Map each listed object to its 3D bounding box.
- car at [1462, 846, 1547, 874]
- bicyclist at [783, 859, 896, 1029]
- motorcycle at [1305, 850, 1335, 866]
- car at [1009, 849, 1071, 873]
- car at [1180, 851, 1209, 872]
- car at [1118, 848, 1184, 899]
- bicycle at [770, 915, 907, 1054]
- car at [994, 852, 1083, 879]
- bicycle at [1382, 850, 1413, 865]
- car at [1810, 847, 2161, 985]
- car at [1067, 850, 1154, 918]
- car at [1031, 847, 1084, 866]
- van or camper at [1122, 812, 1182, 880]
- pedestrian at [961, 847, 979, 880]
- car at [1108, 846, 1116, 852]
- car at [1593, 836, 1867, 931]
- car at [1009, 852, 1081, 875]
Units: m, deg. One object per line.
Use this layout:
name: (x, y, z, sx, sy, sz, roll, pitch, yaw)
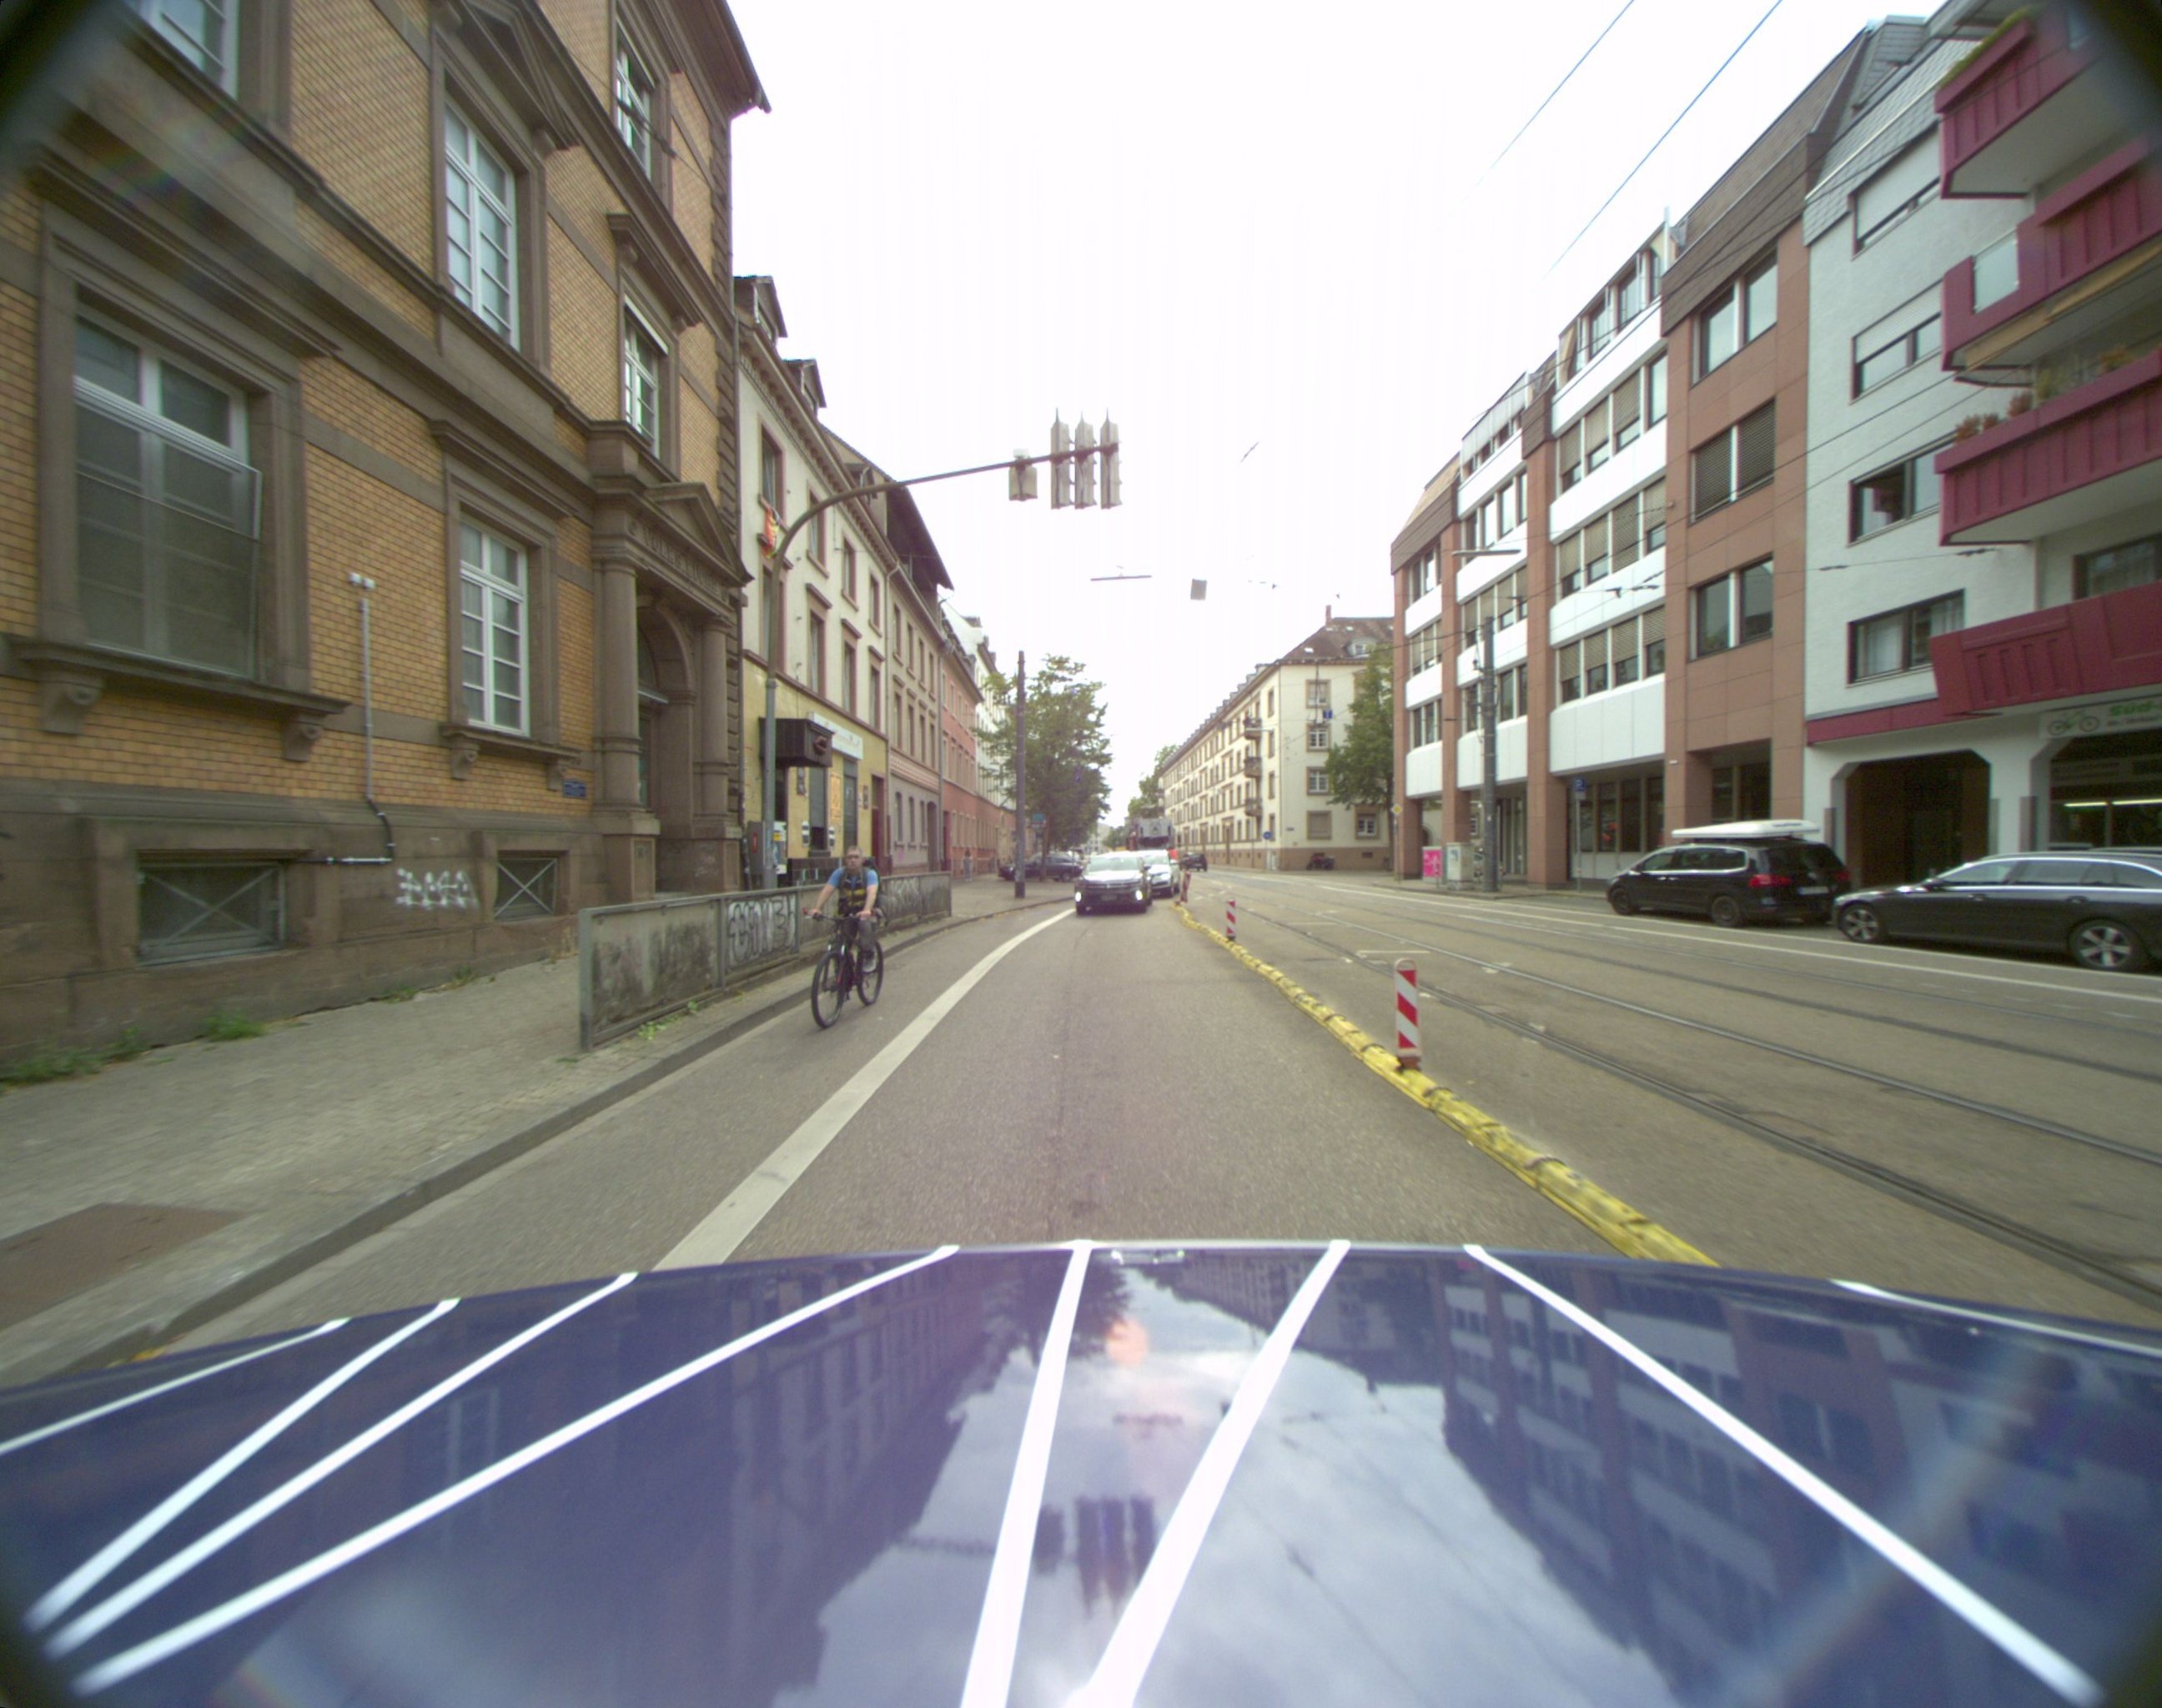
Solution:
car: (22.052, 0.309, 39.660, 3.649, 1.380, 1.611, -1, 1, -8)
bicyclist: (-2.295, 0.818, 7.334, 0.715, 1.498, 0.918, -3, 1, 0)
motorcycle: (17.100, 0.284, 54.336, 1.924, 1.080, 0.793, -1, 1, 1)
car: (-3.076, 0.521, 56.622, 4.245, 1.688, 1.736, 1, 0, -23)
car: (8.806, 0.579, 59.346, 1.773, 1.528, 4.049, -2, 0, 2)
car: (2.519, 0.619, 26.458, 1.772, 1.582, 4.285, -2, 0, 12)
bicycle: (-2.283, 1.190, 7.411, 0.714, 1.012, 1.800, -2, 1, 0)
car: (-2.369, 0.645, 42.383, 4.634, 1.464, 1.786, 1, 0, -23)
bicycle: (22.654, 0.261, 54.440, 1.924, 1.080, 0.793, -1, 1, 1)
car: (13.043, 0.687, 10.349, 1.759, 1.471, 4.698, -3, 0, 1)
car: (0.894, 0.714, 20.157, 1.772, 1.538, 4.284, -2, 0, 9)
car: (-2.224, 0.209, 71.276, 4.634, 1.688, 1.913, 1, 0, -23)
van or camper: (3.862, -0.444, 43.470, 2.607, 3.401, 9.652, -1, 1, 1)
pedestrian: (-5.822, 0.491, 39.862, 0.732, 1.678, 0.926, 3, 1, 1)
car: (8.378, -1.345, 205.400, 1.899, 1.806, 4.000, -1, 1, 2)
car: (13.333, 0.523, 16.107, 1.811, 1.638, 4.698, -3, 0, 1)
car: (-2.330, 0.605, 49.631, 4.351, 1.471, 1.786, 1, 0, -23)
